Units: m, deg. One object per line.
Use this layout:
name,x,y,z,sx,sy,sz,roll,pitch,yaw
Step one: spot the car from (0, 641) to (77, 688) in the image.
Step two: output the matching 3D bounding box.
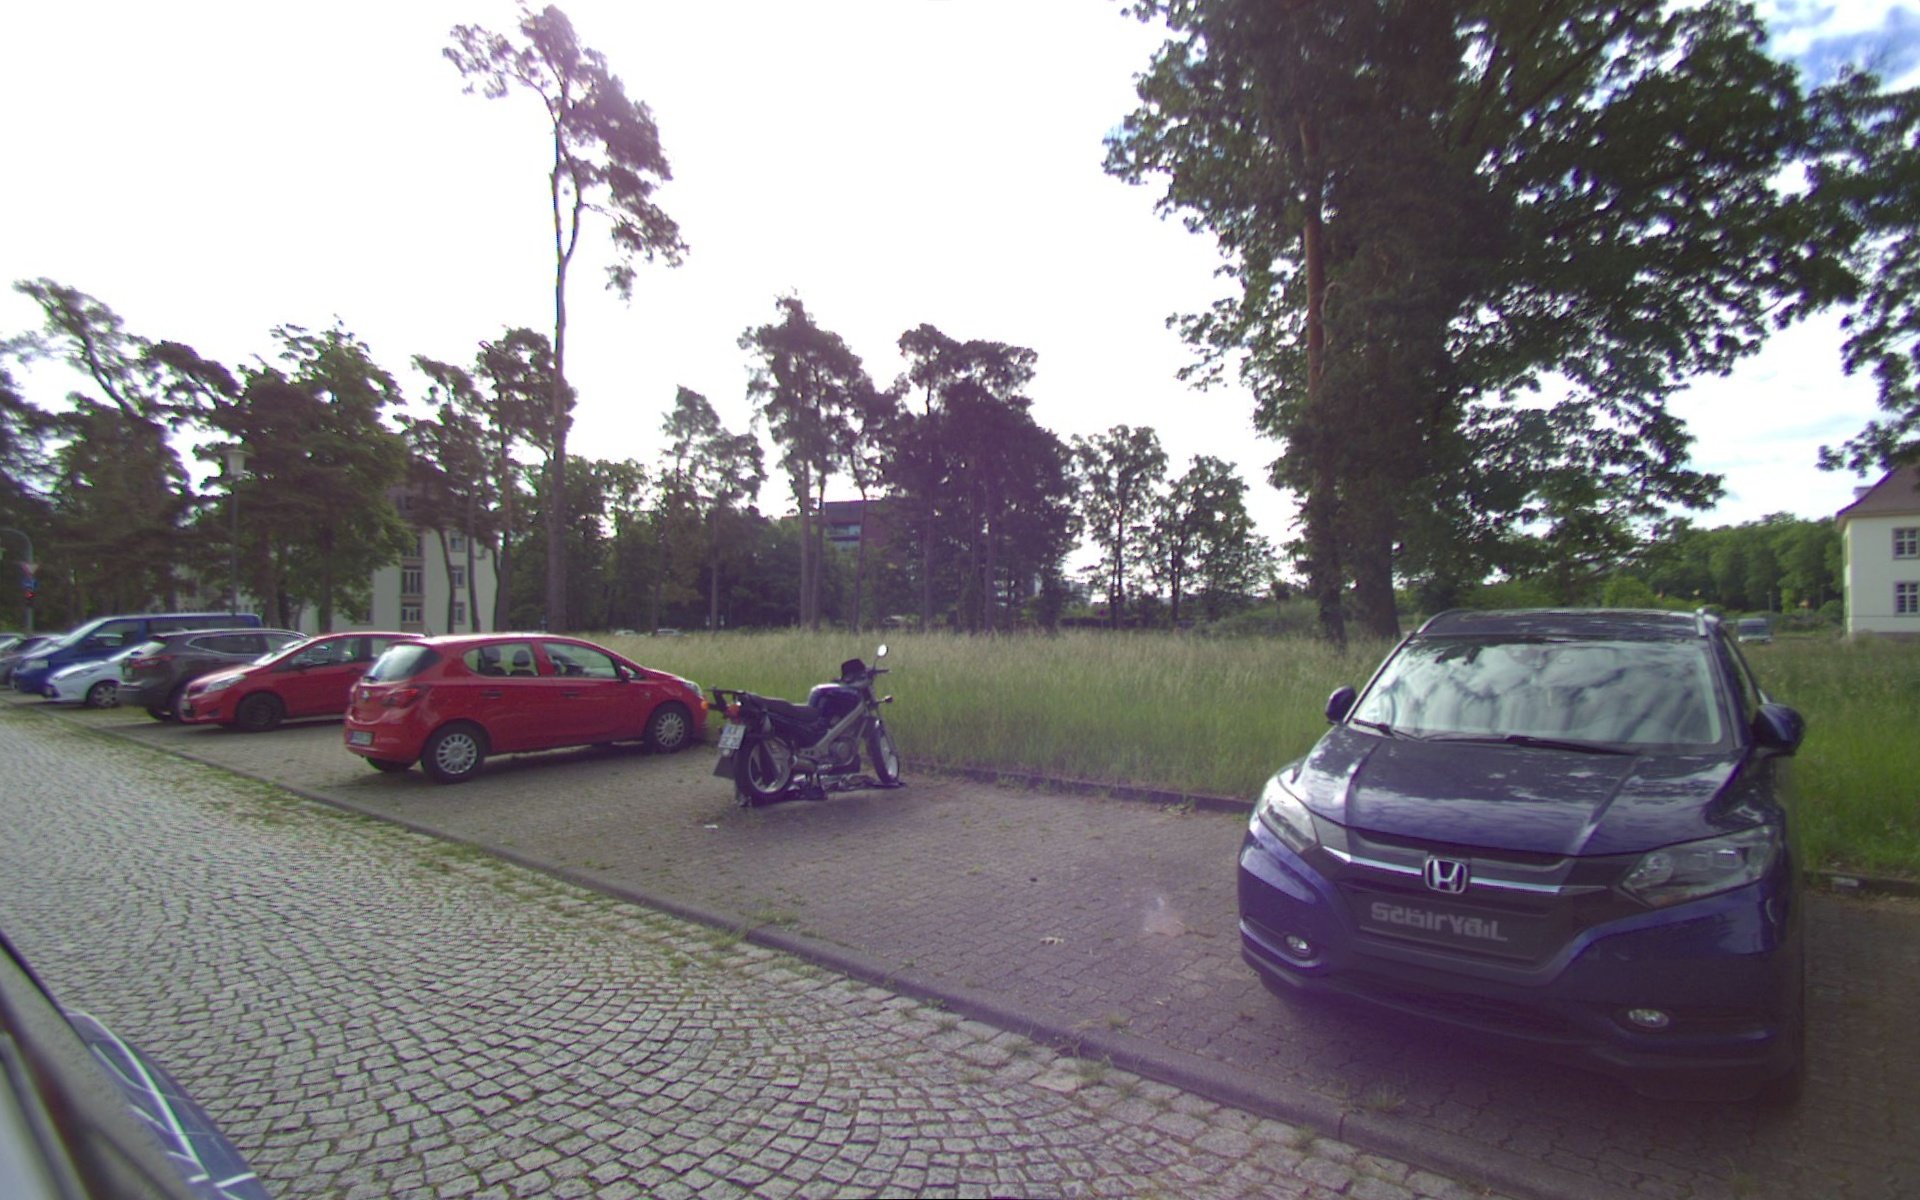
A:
car,-33.653,2.289,35.620,1.598,1.498,3.534,-1,1,32

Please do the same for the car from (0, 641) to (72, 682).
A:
car,-37.331,2.419,39.690,1.622,1.442,3.419,-1,1,31

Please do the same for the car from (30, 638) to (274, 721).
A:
car,-17.601,1.660,22.193,1.741,1.403,3.882,-1,1,39

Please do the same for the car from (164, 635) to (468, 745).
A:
car,-10.435,1.372,16.616,1.706,1.532,3.900,-3,-3,40

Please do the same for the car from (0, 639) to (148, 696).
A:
car,-27.737,2.037,31.487,1.602,1.445,3.533,-1,1,33

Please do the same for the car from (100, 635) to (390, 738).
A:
car,-12.649,1.448,18.112,1.818,1.616,3.868,-2,-3,38

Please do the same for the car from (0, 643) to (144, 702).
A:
car,-25.945,2.041,29.095,1.614,1.431,3.560,-1,0,33

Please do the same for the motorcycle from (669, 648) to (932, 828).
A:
motorcycle,-1.302,1.093,8.772,0.743,1.298,2.331,-2,-2,41

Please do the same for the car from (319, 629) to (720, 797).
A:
car,-4.808,1.121,11.467,1.670,1.490,3.845,-2,-2,40

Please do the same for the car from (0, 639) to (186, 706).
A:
car,-23.640,1.916,27.686,1.683,1.465,3.560,-1,1,33

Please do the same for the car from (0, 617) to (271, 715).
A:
car,-19.492,1.452,23.986,2.159,1.880,4.774,-1,1,39

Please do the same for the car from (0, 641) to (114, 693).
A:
car,-30.013,2.172,32.877,1.634,1.427,3.533,-1,1,33

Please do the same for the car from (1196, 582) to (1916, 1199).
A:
car,2.789,0.786,4.490,1.788,1.585,4.097,-1,-1,39

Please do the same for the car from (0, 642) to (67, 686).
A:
car,-35.647,2.430,37.556,1.624,1.469,3.528,-1,1,38

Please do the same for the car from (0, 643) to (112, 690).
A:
car,-31.660,2.272,34.860,1.621,1.358,3.601,-1,1,44
